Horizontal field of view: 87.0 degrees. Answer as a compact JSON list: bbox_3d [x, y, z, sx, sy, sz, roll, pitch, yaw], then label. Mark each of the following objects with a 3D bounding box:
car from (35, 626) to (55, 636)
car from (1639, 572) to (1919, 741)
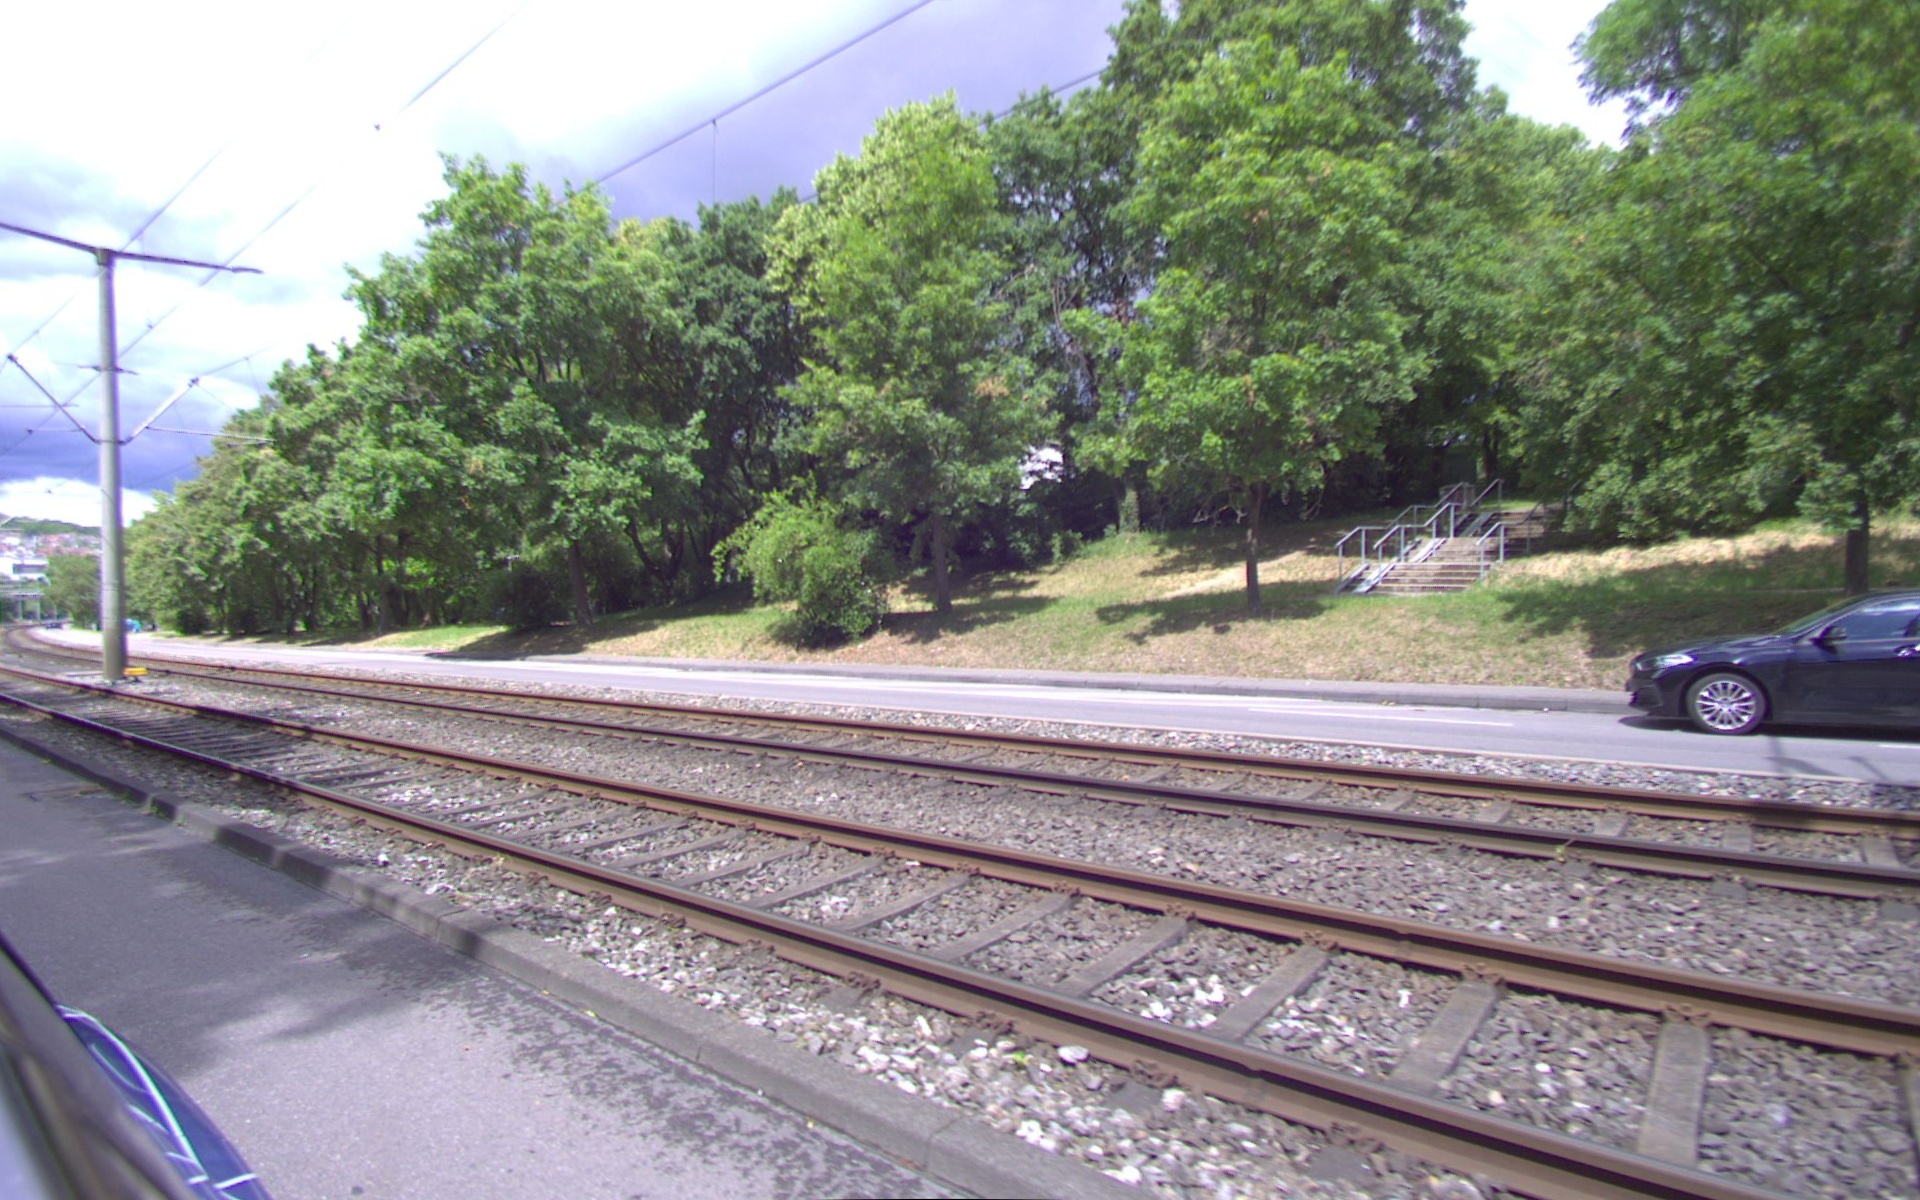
[{"bbox_3d":[-132.361,4.428,146.352,4.863,1.402,1.815,-2,-3,44],"label":"car"},{"bbox_3d":[9.049,0.498,9.788,3.992,1.510,1.757,-1,0,38],"label":"car"}]
